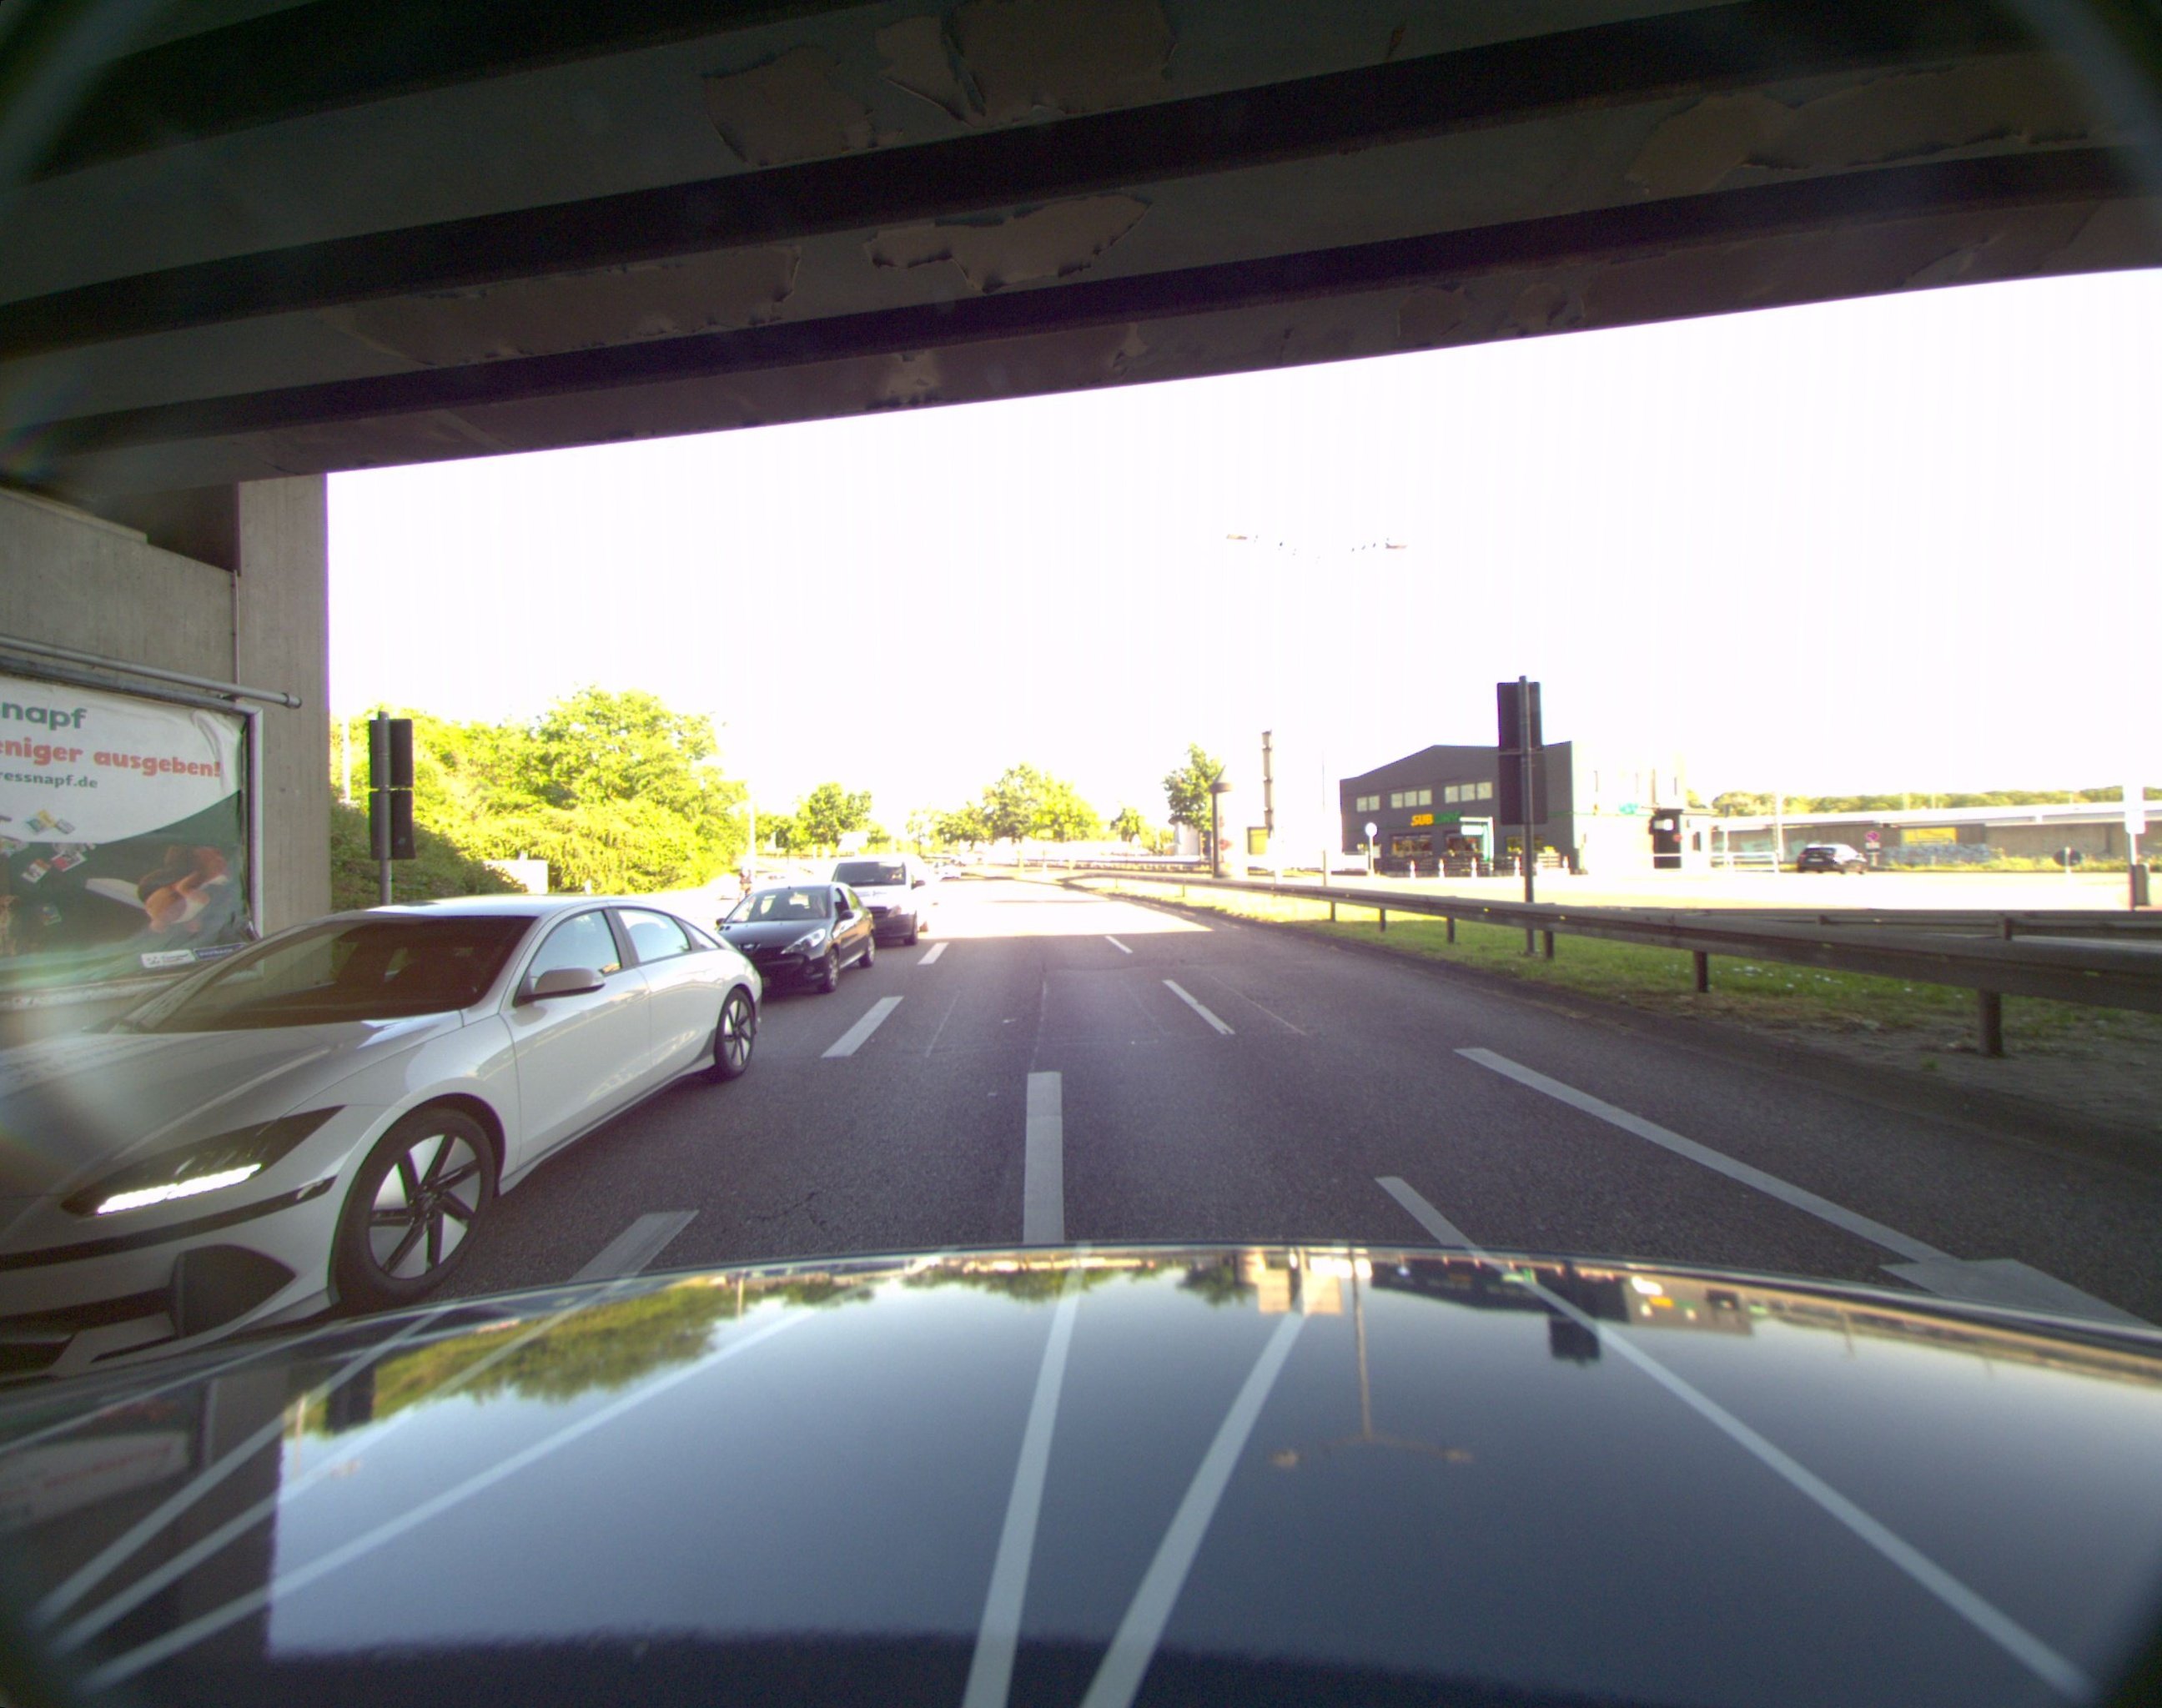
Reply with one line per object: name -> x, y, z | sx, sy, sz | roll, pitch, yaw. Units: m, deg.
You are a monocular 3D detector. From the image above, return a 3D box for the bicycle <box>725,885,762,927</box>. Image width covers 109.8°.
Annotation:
bicycle -> -10.027, 1.529, 22.612 | 0.653, 1.160, 1.776 | 1, -1, -14

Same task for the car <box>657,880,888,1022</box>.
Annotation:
car -> -4.019, 1.177, 10.603 | 1.750, 1.447, 3.716 | -2, 0, -2

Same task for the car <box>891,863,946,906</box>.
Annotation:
car -> -6.676, 1.204, 31.602 | 2.000, 1.542, 4.417 | -2, 0, -9

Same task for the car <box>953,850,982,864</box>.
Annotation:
car -> -13.232, 0.370, 88.480 | 1.809, 1.597, 4.286 | -2, 0, -29

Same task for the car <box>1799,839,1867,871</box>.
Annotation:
car -> 38.457, 0.057, 38.831 | 4.007, 1.434, 1.878 | -3, 1, -37

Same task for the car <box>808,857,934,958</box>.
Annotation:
car -> -4.426, 1.023, 16.781 | 1.903, 1.825, 4.832 | -2, 0, -7

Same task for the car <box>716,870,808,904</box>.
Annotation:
car -> -17.839, 1.813, 42.745 | 1.815, 1.587, 4.542 | -2, 1, 29

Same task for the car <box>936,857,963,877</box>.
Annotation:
car -> -11.126, 1.060, 64.068 | 1.739, 1.396, 3.864 | -3, 3, -17

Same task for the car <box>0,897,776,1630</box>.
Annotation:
car -> -3.421, 1.116, 4.067 | 1.750, 1.447, 4.663 | -2, 0, -2

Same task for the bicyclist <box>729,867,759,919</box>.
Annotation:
bicyclist -> -10.018, 1.147, 22.613 | 0.655, 1.524, 0.846 | 1, -1, -13
